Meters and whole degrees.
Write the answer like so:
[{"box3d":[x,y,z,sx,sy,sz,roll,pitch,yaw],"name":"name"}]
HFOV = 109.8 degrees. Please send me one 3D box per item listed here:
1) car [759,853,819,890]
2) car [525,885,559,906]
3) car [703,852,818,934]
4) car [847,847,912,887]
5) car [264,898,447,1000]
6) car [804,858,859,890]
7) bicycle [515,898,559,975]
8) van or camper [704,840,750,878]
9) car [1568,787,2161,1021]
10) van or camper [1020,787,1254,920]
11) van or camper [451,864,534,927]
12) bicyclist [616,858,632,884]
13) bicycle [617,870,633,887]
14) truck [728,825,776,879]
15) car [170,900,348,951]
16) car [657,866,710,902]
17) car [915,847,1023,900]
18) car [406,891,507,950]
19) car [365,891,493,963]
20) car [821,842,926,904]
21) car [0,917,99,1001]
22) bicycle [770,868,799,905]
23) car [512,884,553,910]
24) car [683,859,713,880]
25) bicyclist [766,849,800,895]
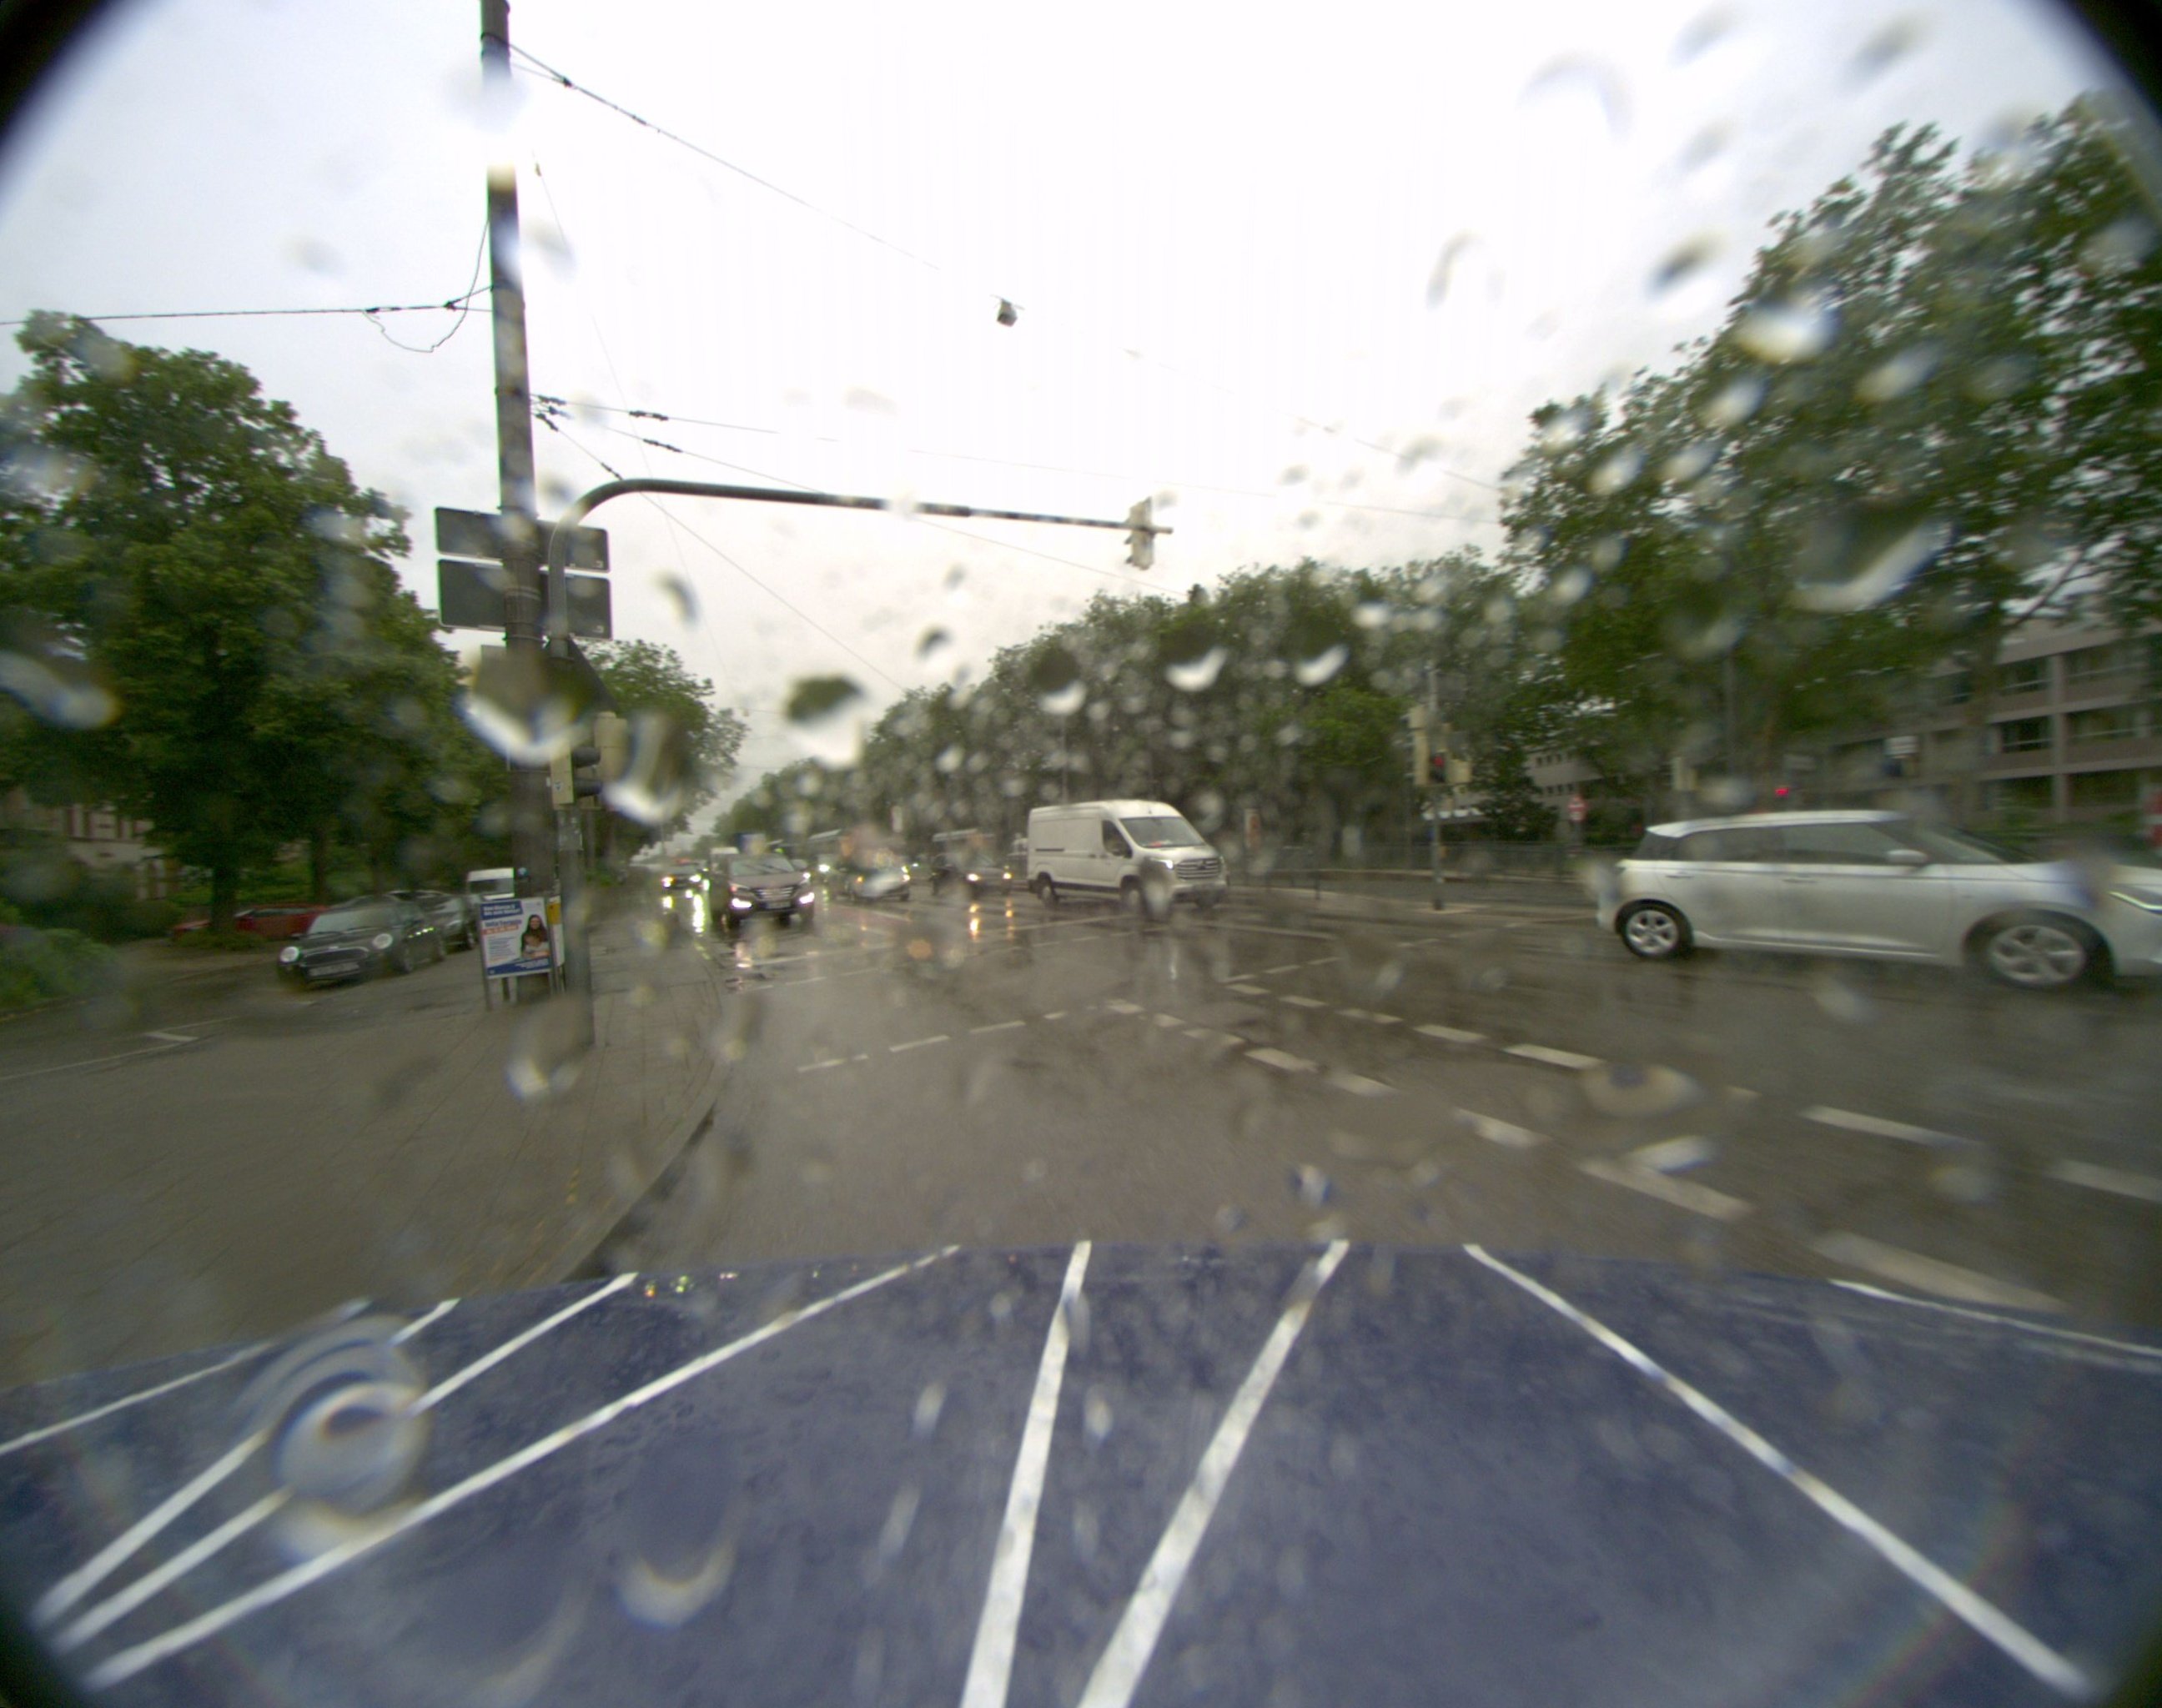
[{"box3d":[-13.811,0.834,35.804,1.917,1.540,4.656,-4,1,-29],"name":"car"},{"box3d":[-42.508,3.263,59.991,1.813,1.446,3.991,-3,0,-31],"name":"car"},{"box3d":[-8.022,0.894,18.755,1.917,1.637,4.670,-4,1,-30],"name":"car"},{"box3d":[-9.396,0.611,35.200,1.851,1.625,4.238,-4,1,-29],"name":"car"},{"box3d":[-13.926,1.727,14.837,1.654,1.491,3.509,-5,1,-29],"name":"car"},{"box3d":[-14.227,1.132,43.231,1.917,1.637,4.181,-4,1,-32],"name":"car"},{"box3d":[-9.402,1.386,13.169,0.424,1.162,1.789,-6,2,-32],"name":"bicycle"},{"box3d":[-25.817,0.409,55.281,2.148,2.484,5.700,-4,1,-33],"name":"van or camper"},{"box3d":[7.172,0.346,7.021,1.810,1.578,4.064,-3,0,-32],"name":"car"},{"box3d":[0.955,0.006,17.202,2.185,2.456,5.957,-3,1,-30],"name":"van or camper"},{"box3d":[-27.596,1.863,35.834,2.337,2.576,6.083,-4,0,-32],"name":"van or camper"},{"box3d":[-29.557,1.129,49.168,0.739,1.646,0.875,-3,0,-36],"name":"bicyclist"},{"box3d":[-29.486,1.575,49.098,0.741,1.066,1.862,-2,0,-35],"name":"bicycle"},{"box3d":[-28.429,-0.078,65.467,2.422,4.252,8.334,-4,1,-31],"name":"truck"},{"box3d":[-31.532,2.711,29.312,1.705,1.461,4.294,-3,0,27],"name":"car"},{"box3d":[-21.163,1.589,40.360,1.981,1.677,4.682,-4,1,-33],"name":"car"},{"box3d":[-3.788,0.647,25.096,1.790,1.504,4.546,-4,1,-32],"name":"car"},{"box3d":[-19.485,2.012,23.882,1.735,1.461,4.207,-4,1,-31],"name":"car"},{"box3d":[-16.664,1.786,19.649,1.754,1.455,4.206,-4,1,-31],"name":"car"},{"box3d":[-6.753,0.605,24.360,1.980,1.731,4.257,-4,1,-32],"name":"car"},{"box3d":[-22.172,2.179,14.352,1.857,1.499,4.005,-3,1,22],"name":"car"},{"box3d":[-10.103,1.074,25.862,0.820,1.082,1.994,-4,2,-22],"name":"bicycle"},{"box3d":[-35.925,2.790,49.848,1.707,1.364,3.991,-5,2,-31],"name":"car"},{"box3d":[-35.665,1.382,70.717,2.003,1.749,3.990,-5,3,-32],"name":"car"},{"box3d":[-10.131,0.594,25.820,0.929,1.462,0.803,-5,3,-26],"name":"bicyclist"}]
